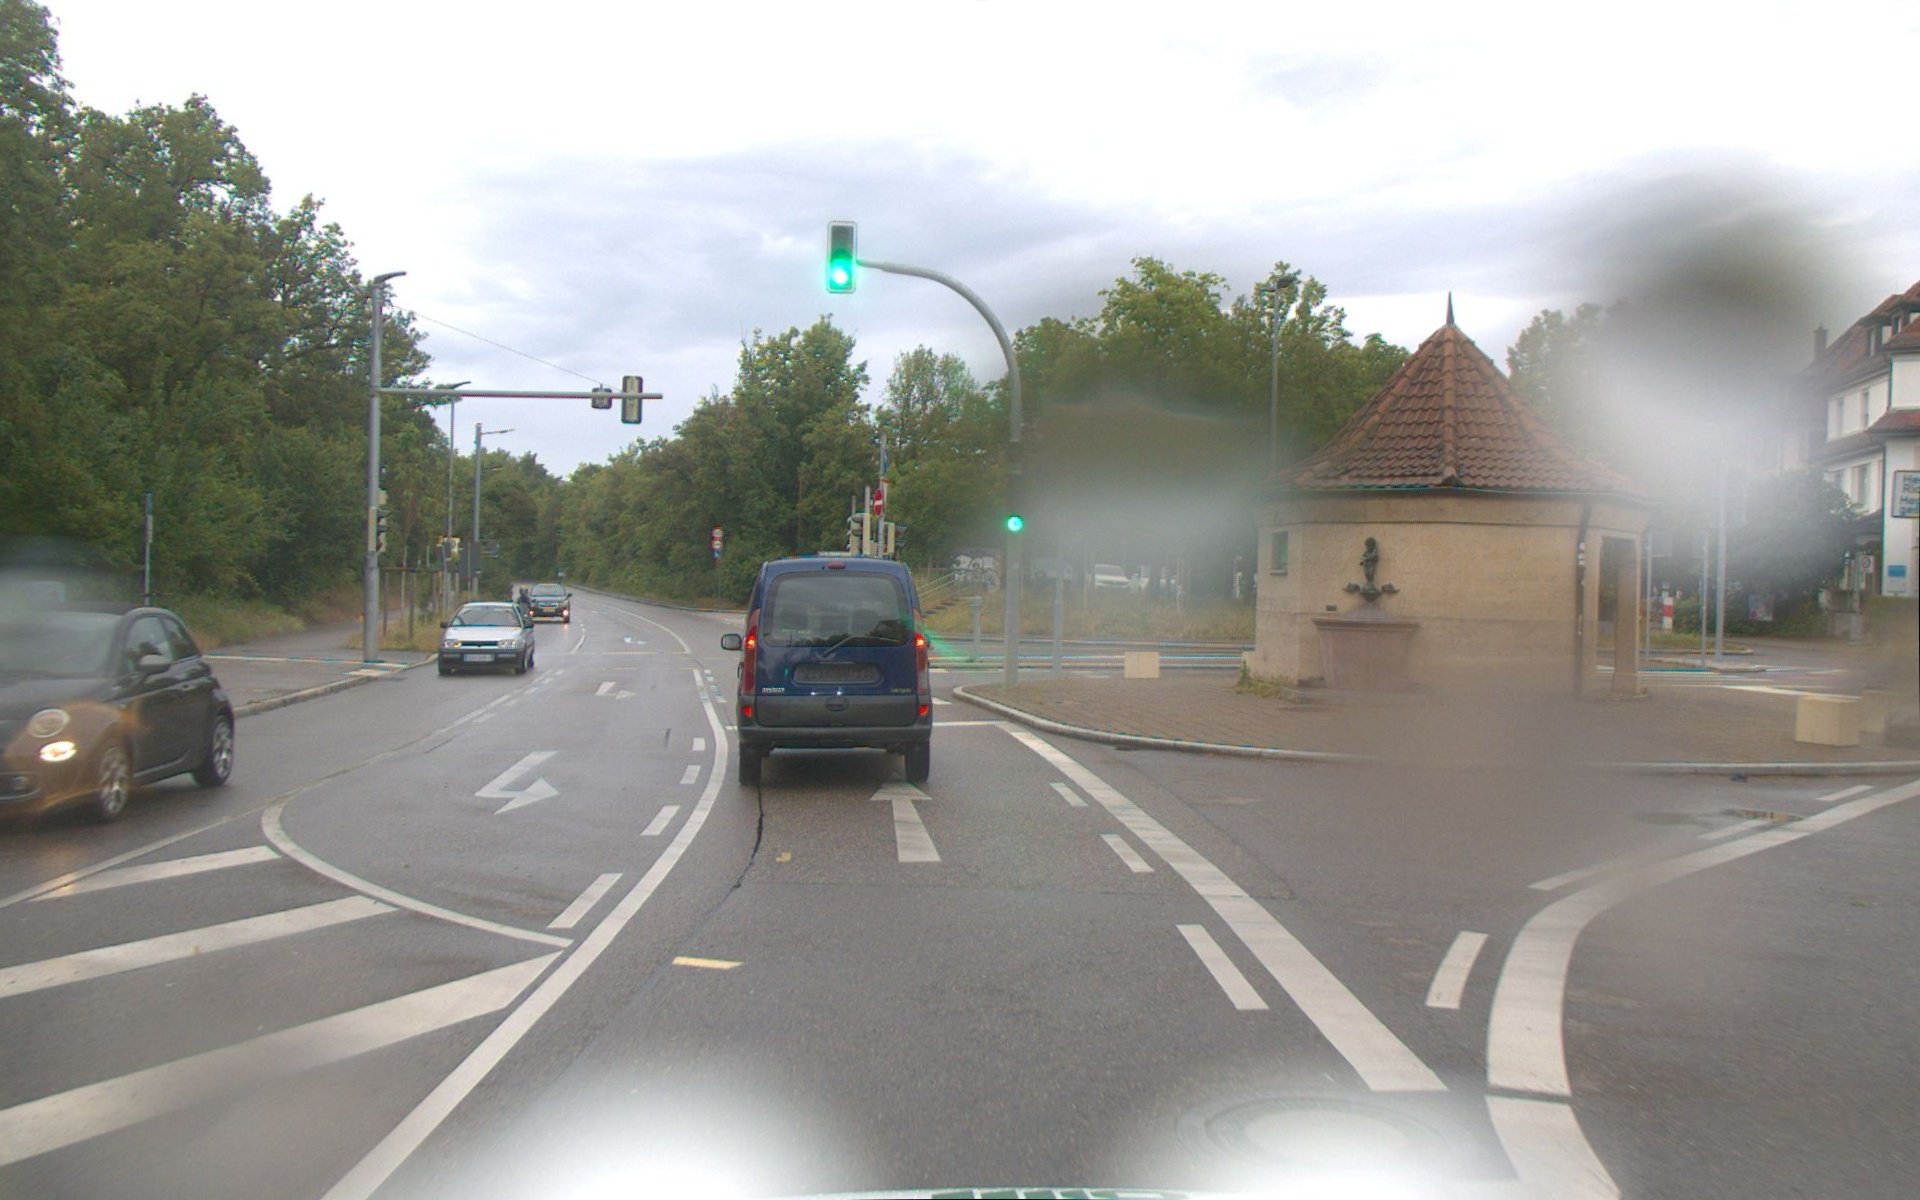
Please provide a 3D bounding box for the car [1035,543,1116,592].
[{"bbox_3d":[4.369,-1.248,63.016,1.959,1.690,3.988,3,1,-13],"label":"car"}]

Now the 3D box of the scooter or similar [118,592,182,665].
[{"bbox_3d":[-14.280,0.487,29.188,0.507,1.233,1.467,1,0,-5],"label":"scooter or similar"}]

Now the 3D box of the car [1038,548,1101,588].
[{"bbox_3d":[5.067,-1.485,77.007,1.956,1.690,4.465,3,1,-8],"label":"car"}]

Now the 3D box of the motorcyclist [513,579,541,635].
[{"bbox_3d":[-13.112,0.208,50.081,0.732,1.660,0.925,0,1,-9],"label":"motorcyclist"}]

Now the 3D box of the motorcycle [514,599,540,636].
[{"bbox_3d":[-13.106,0.508,50.121,0.583,1.069,1.994,0,1,-10],"label":"motorcycle"}]

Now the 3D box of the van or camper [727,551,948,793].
[{"bbox_3d":[-1.107,0.544,14.910,1.679,1.857,3.996,1,0,-5],"label":"van or camper"}]

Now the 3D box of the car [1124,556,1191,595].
[{"bbox_3d":[8.230,-0.999,69.313,1.850,1.505,4.062,3,0,-7],"label":"car"}]

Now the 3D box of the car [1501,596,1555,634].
[{"bbox_3d":[32.598,0.848,95.020,1.951,2.049,4.003,1,0,5],"label":"car"}]

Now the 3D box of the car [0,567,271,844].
[{"bbox_3d":[-6.540,0.652,12.368,1.546,1.761,3.769,-1,1,-7],"label":"car"}]

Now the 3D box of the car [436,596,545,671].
[{"bbox_3d":[-9.646,0.641,34.254,1.709,1.375,4.200,-1,1,-10],"label":"car"}]

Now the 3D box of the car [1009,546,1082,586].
[{"bbox_3d":[3.467,-1.380,68.064,1.958,1.505,4.272,3,0,-12],"label":"car"}]

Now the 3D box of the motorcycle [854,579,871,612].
[{"bbox_3d":[-3.937,-0.196,66.934,0.576,1.311,1.538,0,1,2],"label":"motorcycle"}]

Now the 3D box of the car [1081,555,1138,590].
[{"bbox_3d":[7.195,-1.309,79.770,1.850,1.505,4.062,3,0,-7],"label":"car"}]

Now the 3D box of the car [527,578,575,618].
[{"bbox_3d":[-17.232,-0.109,69.789,1.757,1.609,4.549,0,1,-11],"label":"car"}]
